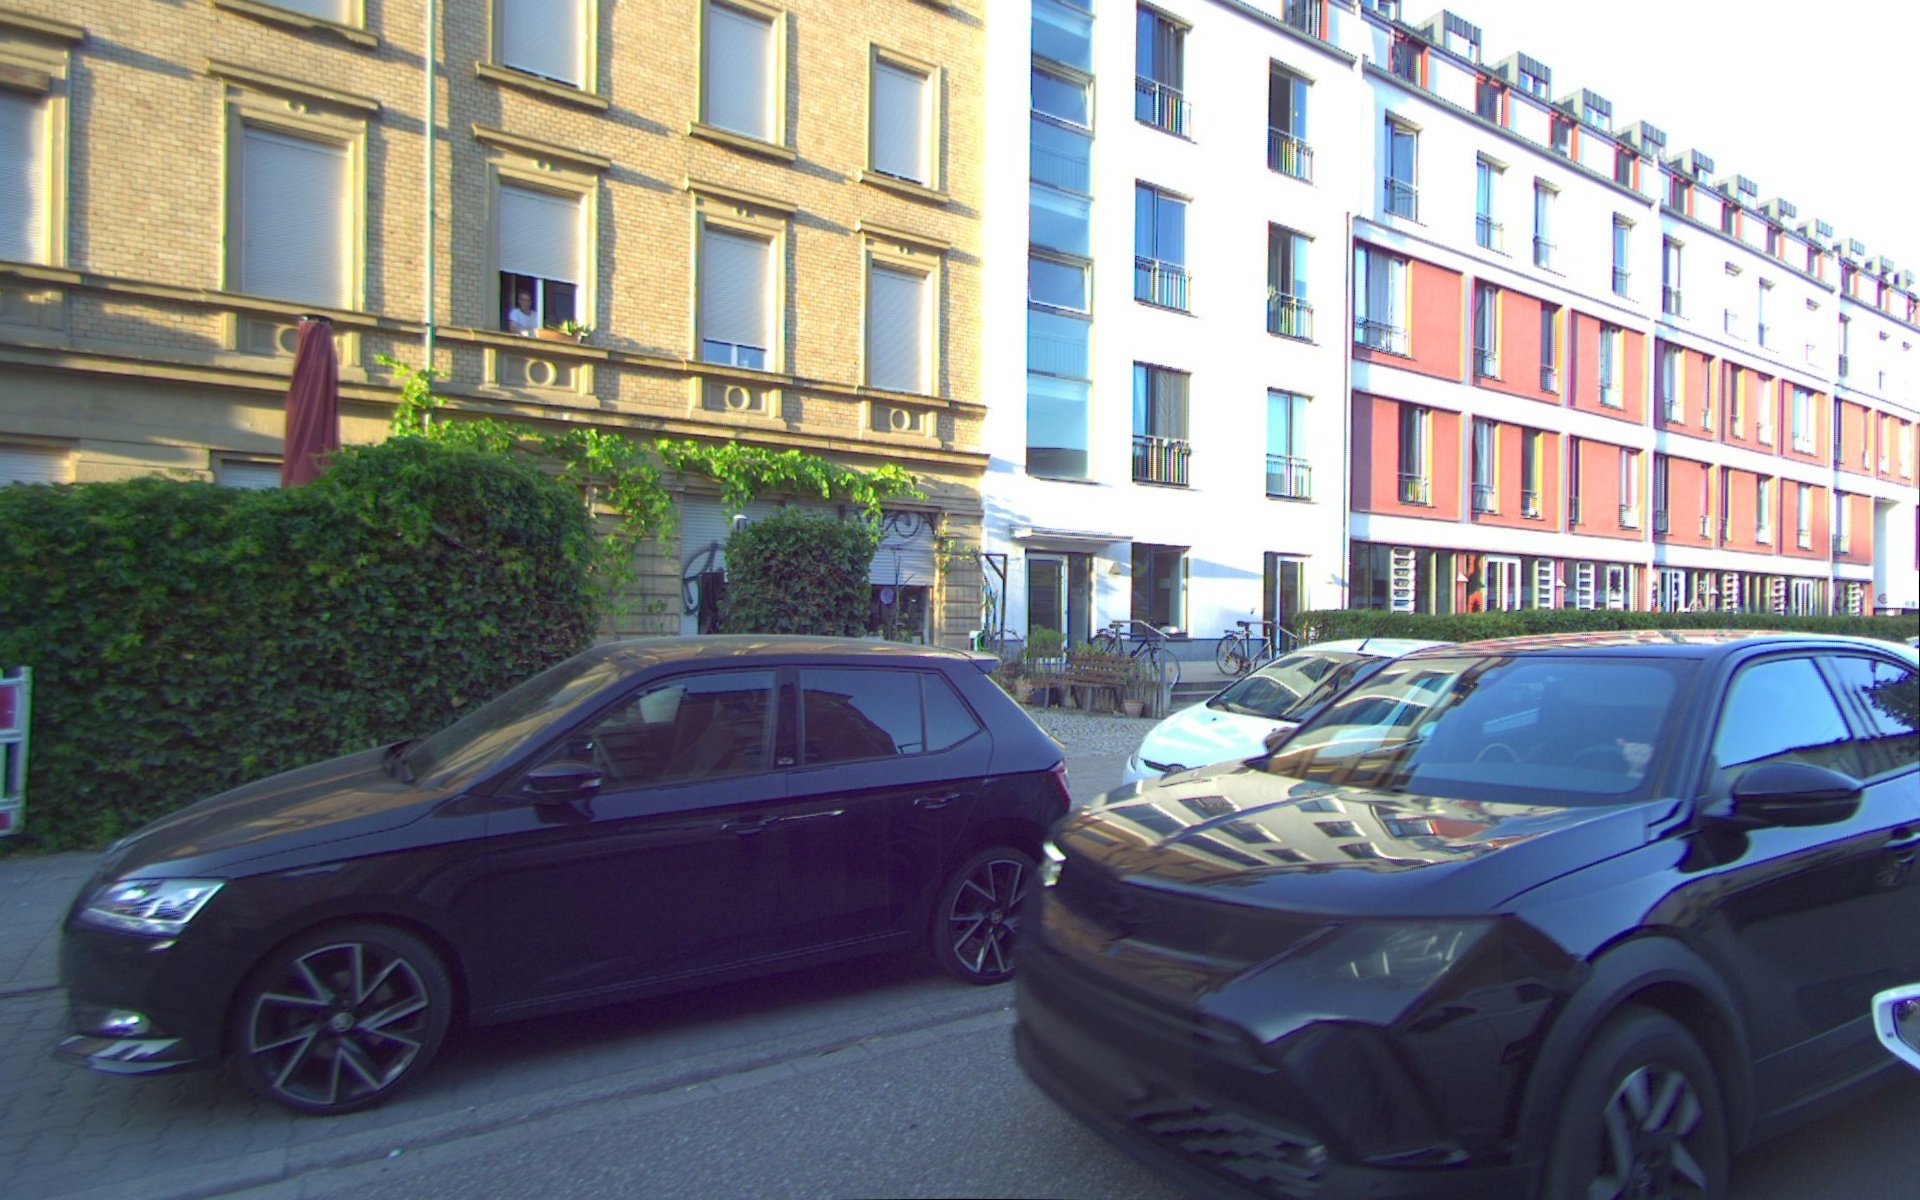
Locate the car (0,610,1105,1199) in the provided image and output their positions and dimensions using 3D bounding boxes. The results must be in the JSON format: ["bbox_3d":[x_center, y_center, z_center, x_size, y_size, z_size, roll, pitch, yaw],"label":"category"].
[{"bbox_3d":[-1.388,0.858,4.379,3.801,1.554,1.694,1,0,-32],"label":"car"}]

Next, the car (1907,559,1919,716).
[{"bbox_3d":[17.965,0.688,15.479,1.976,2.619,4.490,1,1,-29],"label":"car"}]

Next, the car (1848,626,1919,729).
[{"bbox_3d":[15.783,1.209,14.150,1.861,1.480,4.586,1,1,-34],"label":"car"}]

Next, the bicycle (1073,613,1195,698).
[{"bbox_3d":[2.643,0.818,15.506,0.802,1.157,1.906,1,1,-30],"label":"bicycle"}]

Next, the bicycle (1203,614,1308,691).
[{"bbox_3d":[4.904,0.844,16.777,0.603,1.163,1.768,1,1,-28],"label":"bicycle"}]

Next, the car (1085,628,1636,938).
[{"bbox_3d":[2.915,1.003,7.003,3.976,1.550,1.640,1,0,-35],"label":"car"}]

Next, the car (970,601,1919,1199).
[{"bbox_3d":[2.183,0.835,3.467,3.947,1.537,1.774,1,-2,-26],"label":"car"}]
